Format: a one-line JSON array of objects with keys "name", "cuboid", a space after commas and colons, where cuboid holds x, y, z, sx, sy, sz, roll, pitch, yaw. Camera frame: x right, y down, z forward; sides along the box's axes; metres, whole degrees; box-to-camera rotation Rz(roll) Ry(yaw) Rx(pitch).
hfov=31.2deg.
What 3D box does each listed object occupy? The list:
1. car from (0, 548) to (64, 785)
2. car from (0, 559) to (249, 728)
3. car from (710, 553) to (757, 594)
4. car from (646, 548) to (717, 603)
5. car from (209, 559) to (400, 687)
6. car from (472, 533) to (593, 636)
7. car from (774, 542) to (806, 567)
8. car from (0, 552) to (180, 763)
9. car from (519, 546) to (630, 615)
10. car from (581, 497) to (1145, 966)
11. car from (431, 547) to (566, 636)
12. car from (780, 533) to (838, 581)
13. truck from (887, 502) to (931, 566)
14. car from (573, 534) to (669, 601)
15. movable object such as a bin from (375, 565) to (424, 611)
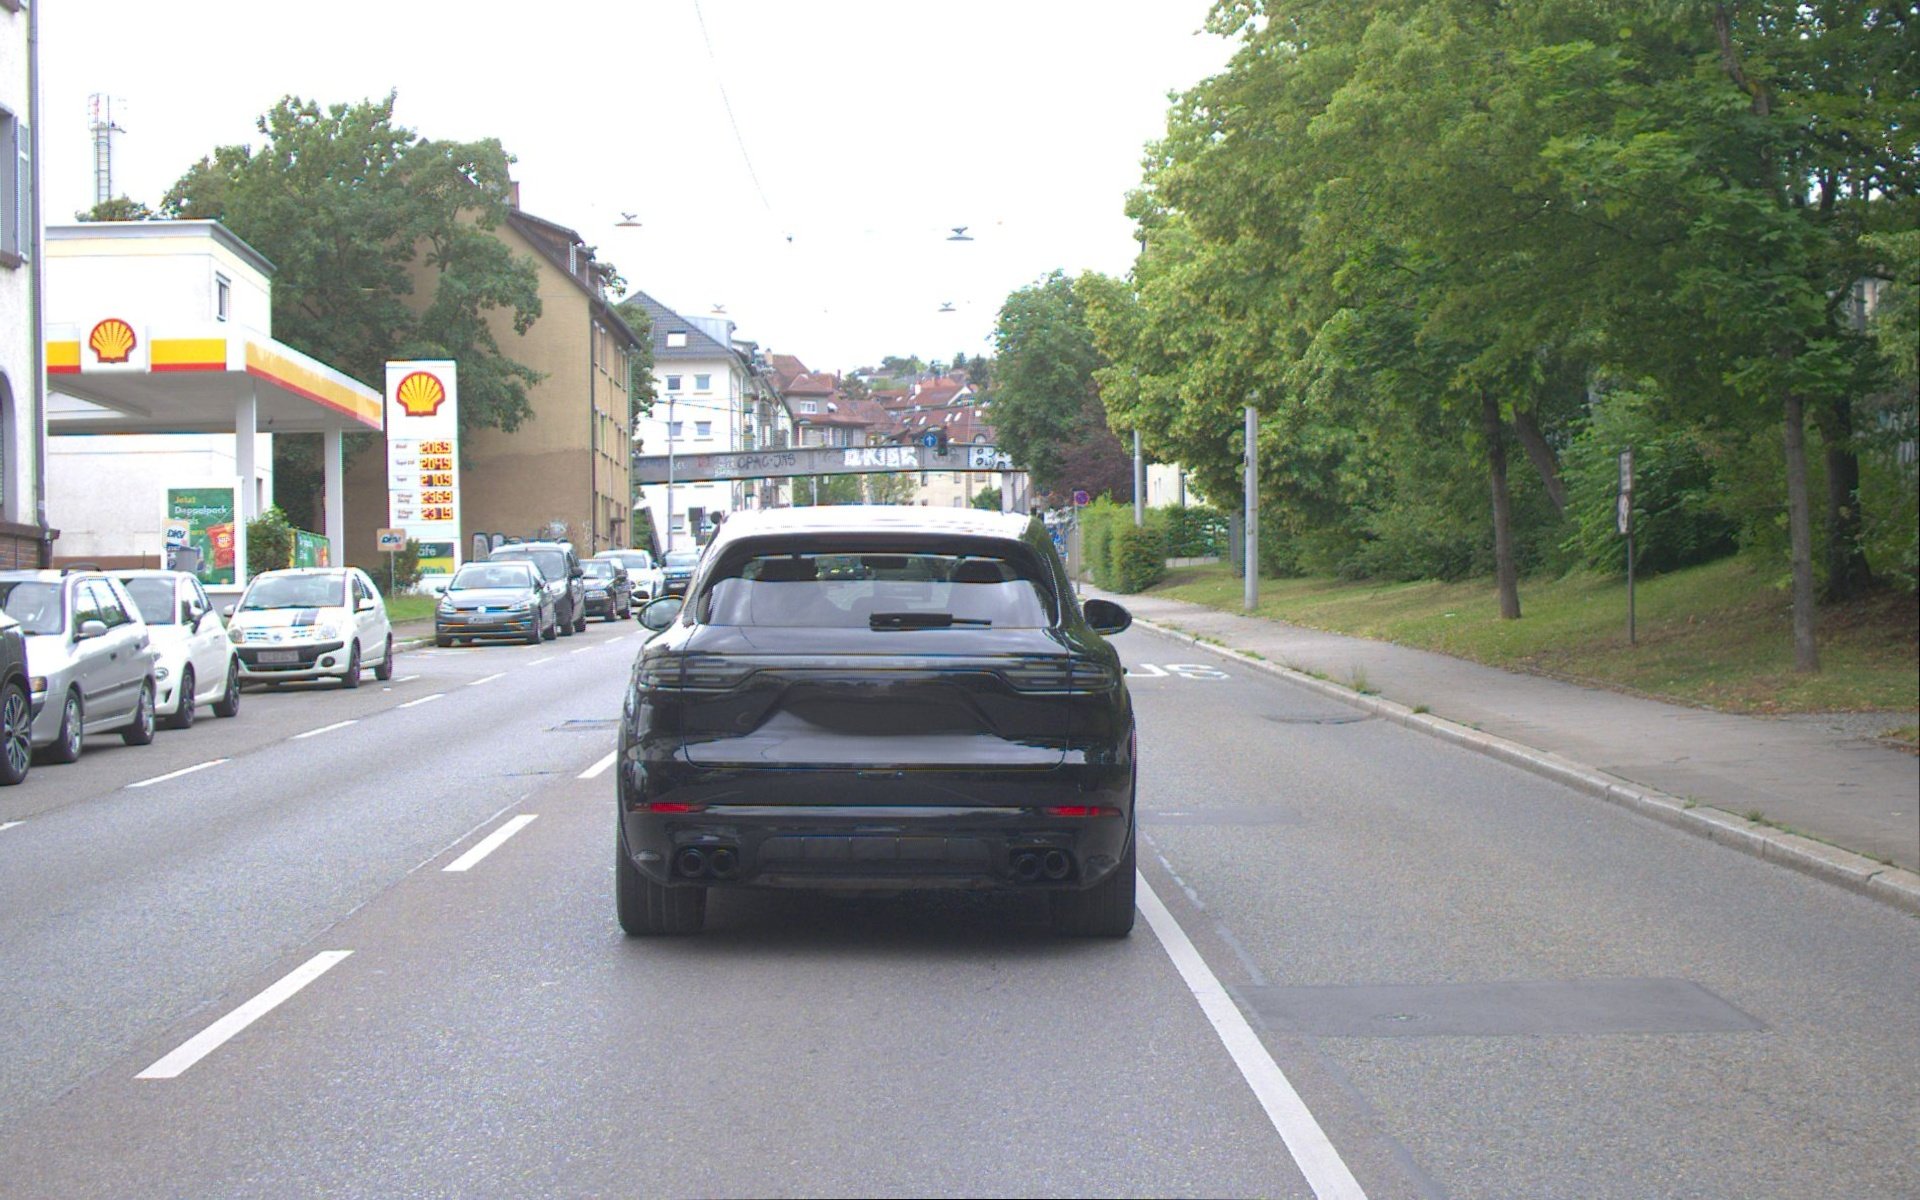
[{"name": "car", "cuboid": [-7.384, 0.493, 22.483, 1.727, 1.593, 4.502, -1, 1, 2]}, {"name": "car", "cuboid": [-7.916, 0.369, 32.740, 1.547, 1.470, 3.604, -1, 1, -1]}, {"name": "car", "cuboid": [-9.133, -1.087, 138.555, 1.745, 1.563, 3.908, -2, 1, -2]}, {"name": "car", "cuboid": [-8.754, -0.787, 108.248, 1.783, 1.603, 4.264, -3, 1, 1]}, {"name": "car", "cuboid": [-7.978, 0.246, 42.105, 1.619, 1.420, 3.665, -1, 1, 0]}, {"name": "car", "cuboid": [-8.170, -0.325, 66.060, 1.851, 1.829, 4.702, -2, 1, -2]}, {"name": "car", "cuboid": [-10.692, -2.845, 216.201, 1.765, 1.503, 4.000, -1, 1, 0]}, {"name": "car", "cuboid": [-7.640, 0.440, 27.792, 1.727, 1.553, 4.082, -3, 1, -1]}, {"name": "car", "cuboid": [-8.617, -0.468, 77.181, 1.798, 1.426, 4.743, -2, 1, 2]}, {"name": "car", "cuboid": [-0.352, 0.418, 14.201, 1.993, 1.656, 4.000, 0, 1, 0]}, {"name": "car", "cuboid": [-8.037, -0.179, 60.192, 1.790, 1.445, 4.218, -2, 1, -1]}, {"name": "car", "cuboid": [-5.100, -1.464, 116.520, 1.797, 1.520, 4.000, -2, 1, -1]}, {"name": "truck", "cuboid": [-2.803, -3.583, 189.398, 2.266, 3.413, 9.879, -1, 1, -1]}, {"name": "car", "cuboid": [-8.493, -0.829, 86.475, 1.915, 1.572, 4.700, -2, 1, 0]}, {"name": "movable object such as a bin", "cuboid": [-17.272, -0.377, 106.001, 1.392, 1.423, 0.913, 0, 1, -3]}]
